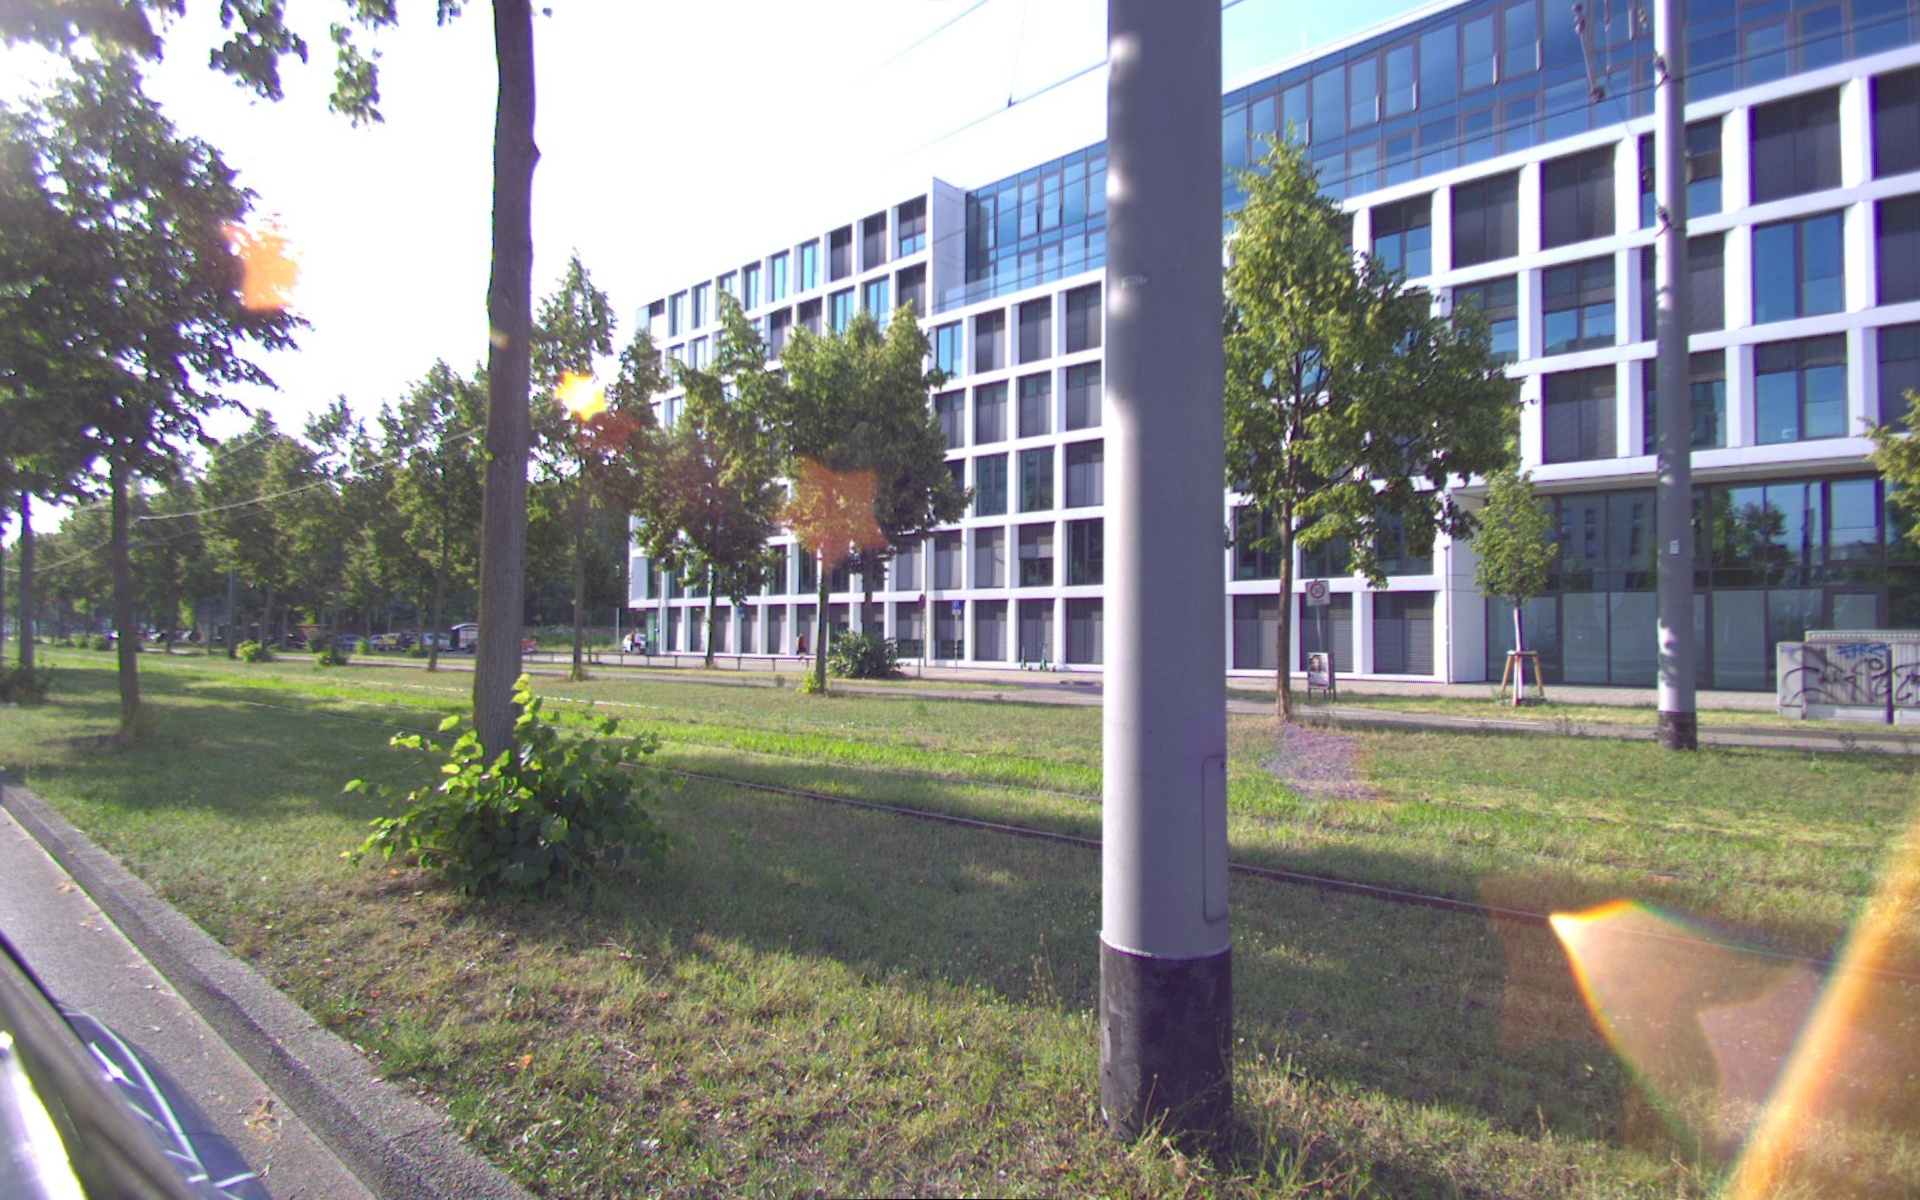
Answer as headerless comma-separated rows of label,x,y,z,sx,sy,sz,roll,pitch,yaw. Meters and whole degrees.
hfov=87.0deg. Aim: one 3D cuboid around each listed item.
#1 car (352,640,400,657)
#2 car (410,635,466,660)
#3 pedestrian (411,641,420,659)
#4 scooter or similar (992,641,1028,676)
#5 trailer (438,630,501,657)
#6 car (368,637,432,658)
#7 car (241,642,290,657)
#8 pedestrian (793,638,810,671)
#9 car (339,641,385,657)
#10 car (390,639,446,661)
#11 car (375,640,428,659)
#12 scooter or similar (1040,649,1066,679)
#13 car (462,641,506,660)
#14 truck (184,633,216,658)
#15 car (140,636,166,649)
car,-56.146,4.663,97.298,1.810,1.439,3.606,-1,0,44
car,-44.713,4.017,86.716,1.757,1.962,3.949,-1,0,42
pedestrian,-46.079,4.234,85.656,0.568,1.491,0.516,-1,-1,41
scooter or similar,2.231,2.605,45.202,1.906,1.488,0.415,-1,-1,-45
trailer,-40.281,3.563,83.172,1.758,2.069,4.314,-1,0,45
car,-53.399,4.502,96.535,1.886,1.748,5.003,-1,0,44
car,-69.055,4.913,100.676,3.991,1.446,1.682,-1,0,10
pedestrian,-8.605,2.924,54.841,0.691,1.741,0.561,-1,-1,41
car,-60.849,4.974,102.940,3.810,1.497,1.746,-1,0,-41
car,-47.290,4.350,88.363,1.757,1.655,3.949,-1,0,42
car,-52.006,4.598,94.277,1.856,1.572,3.942,-1,0,44
scooter or similar,4.046,2.773,44.002,0.331,1.235,1.302,-1,0,-35
car,-37.658,3.966,79.957,3.757,1.404,1.663,-1,0,39
truck,-113.535,6.711,151.173,2.855,3.542,7.951,0,0,-44
car,-96.793,5.053,121.397,4.474,1.442,1.810,-1,0,43
